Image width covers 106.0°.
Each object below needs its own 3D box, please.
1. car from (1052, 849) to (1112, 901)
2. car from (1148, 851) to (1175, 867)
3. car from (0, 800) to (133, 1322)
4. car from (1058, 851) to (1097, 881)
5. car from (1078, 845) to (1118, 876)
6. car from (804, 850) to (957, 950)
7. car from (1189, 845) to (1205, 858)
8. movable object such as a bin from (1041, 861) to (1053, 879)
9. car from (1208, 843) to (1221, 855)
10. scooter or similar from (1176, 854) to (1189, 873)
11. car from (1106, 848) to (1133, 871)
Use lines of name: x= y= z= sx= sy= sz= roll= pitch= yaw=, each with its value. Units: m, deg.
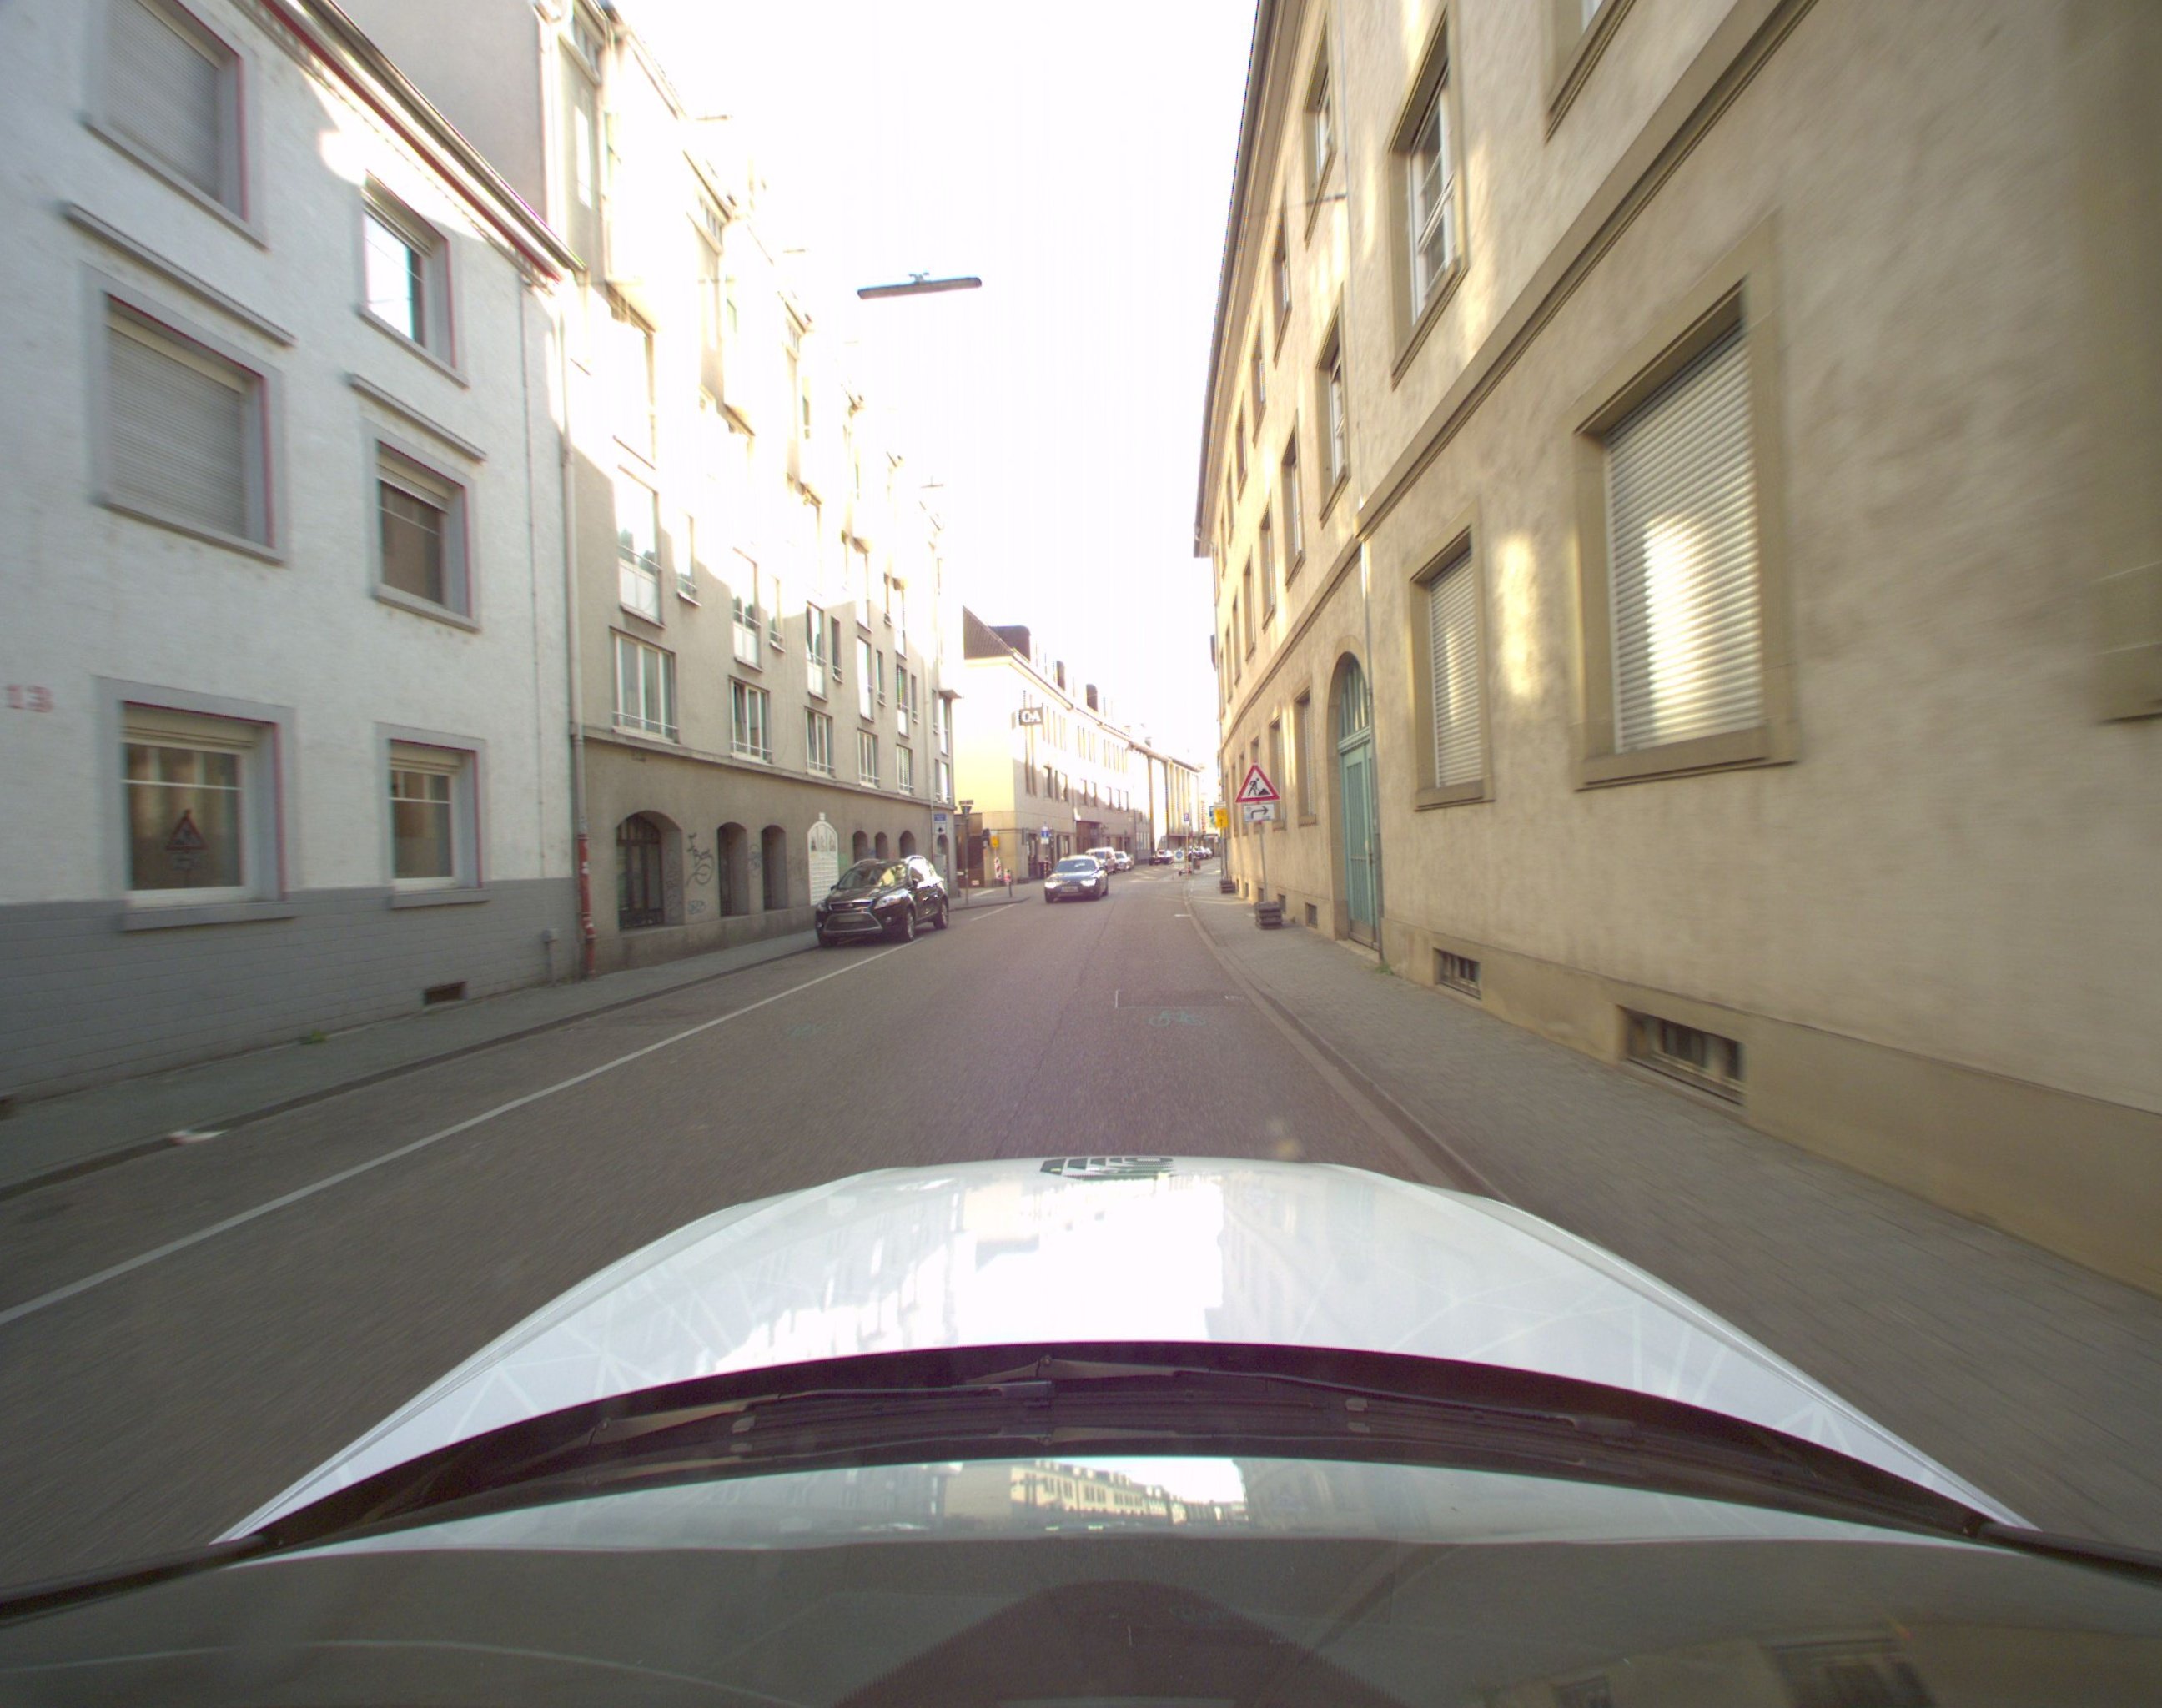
car: x=-0.036 y=0.675 z=27.824 sx=1.711 sy=1.578 sz=4.185 roll=-3 pitch=0 yaw=-4
car: x=7.874 y=0.475 z=79.529 sx=1.867 sy=1.332 sz=4.118 roll=-3 pitch=0 yaw=16
car: x=-4.900 y=0.820 z=0.863 sx=1.873 sy=1.866 sz=4.865 roll=-5 pitch=0 yaw=1
car: x=-0.162 y=0.671 z=47.708 sx=1.661 sy=1.507 sz=3.801 roll=-4 pitch=0 yaw=7
car: x=1.188 y=0.400 z=53.473 sx=1.659 sy=1.818 sz=4.567 roll=-4 pitch=0 yaw=12
car: x=-4.076 y=0.861 z=17.339 sx=1.731 sy=1.711 sz=4.197 roll=-5 pitch=0 yaw=5
car: x=14.053 y=-0.325 z=98.557 sx=1.328 sy=1.494 sz=3.525 roll=-3 pitch=0 yaw=16
movable object such as a bin: x=-2.053 y=0.949 z=49.070 sx=0.606 sy=1.060 sz=0.714 roll=0 pitch=0 yaw=3
car: x=18.987 y=-0.718 z=115.528 sx=1.328 sy=1.494 sz=3.361 roll=-3 pitch=0 yaw=16
scooter or similar: x=6.020 y=0.582 z=48.446 sx=0.766 sy=1.136 sz=0.270 roll=0 pitch=0 yaw=9
car: x=2.859 y=0.387 z=59.528 sx=1.262 sy=1.507 sz=3.414 roll=-4 pitch=0 yaw=13
